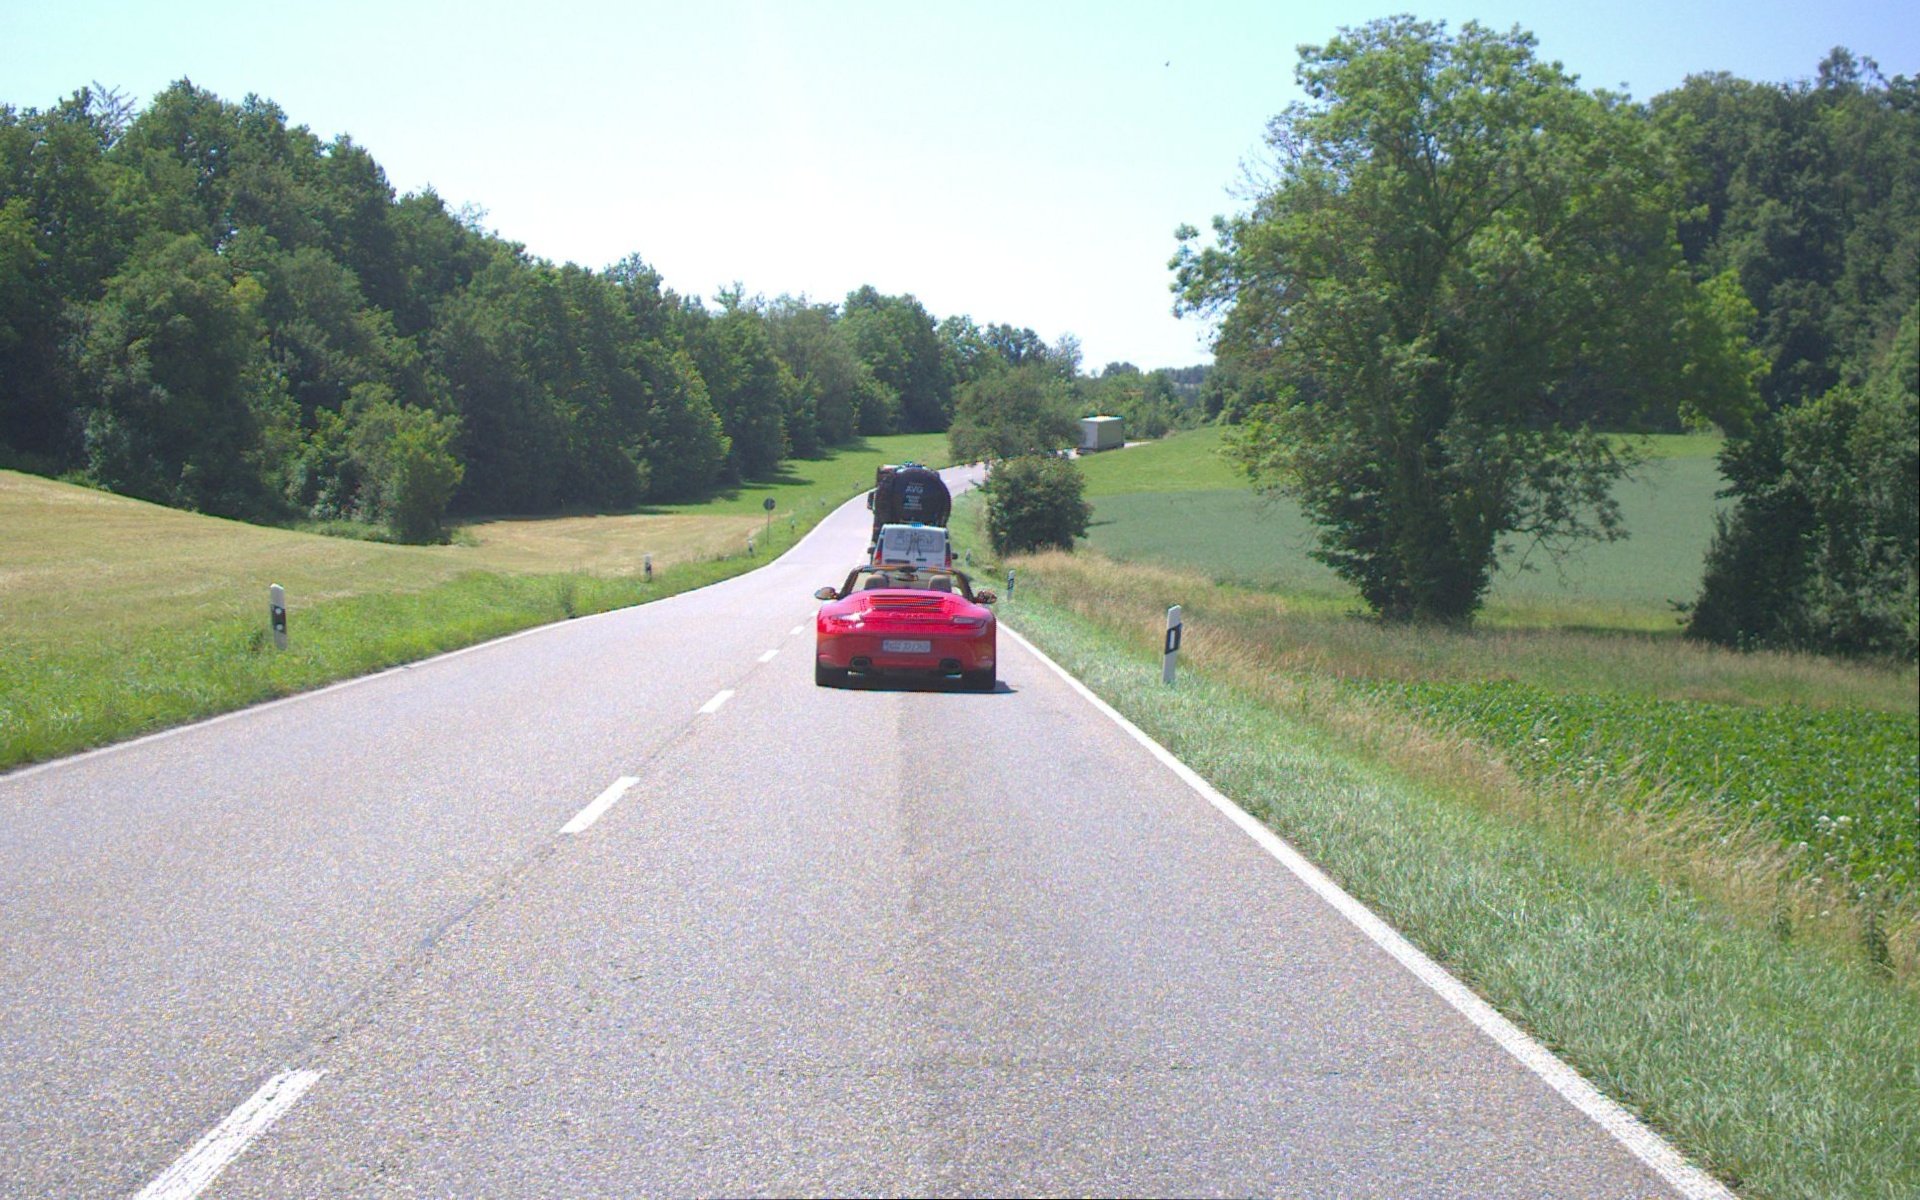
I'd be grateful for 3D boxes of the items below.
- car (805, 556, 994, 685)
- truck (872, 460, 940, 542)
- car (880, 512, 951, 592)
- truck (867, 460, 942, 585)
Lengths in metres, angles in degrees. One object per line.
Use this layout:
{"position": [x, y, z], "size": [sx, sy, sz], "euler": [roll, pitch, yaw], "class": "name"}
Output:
{"position": [-0.645, 0.179, 36.361], "size": [1.882, 1.251, 4.010], "euler": [0, 1, -1], "class": "car"}
{"position": [-3.248, -5.955, 204.212], "size": [3.725, 4.644, 12.033], "euler": [1, 3, -2], "class": "truck"}
{"position": [-1.046, -1.173, 82.808], "size": [1.678, 1.894, 4.010], "euler": [0, 1, 0], "class": "car"}
{"position": [-1.990, -2.785, 118.871], "size": [2.403, 4.035, 12.553], "euler": [0, 2, -2], "class": "truck"}
